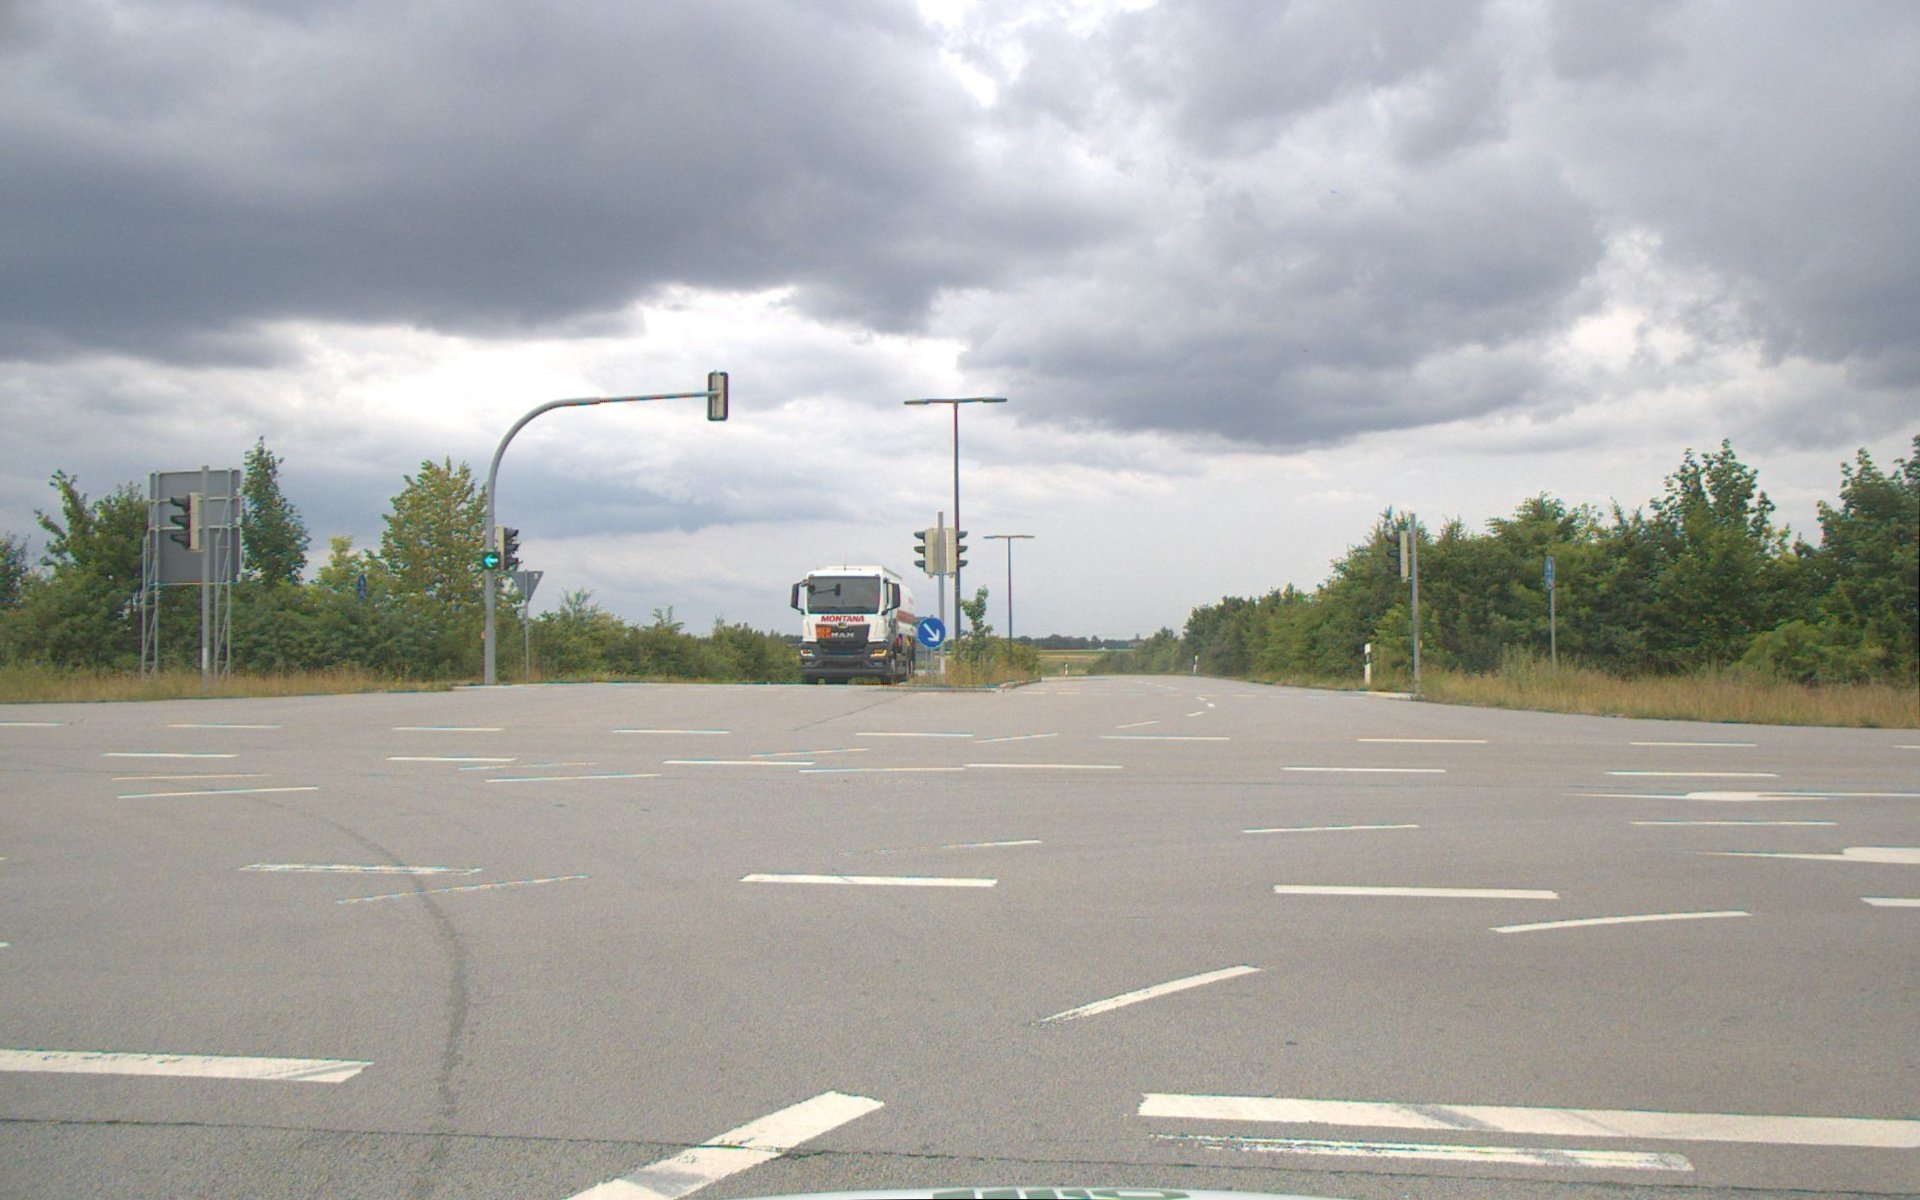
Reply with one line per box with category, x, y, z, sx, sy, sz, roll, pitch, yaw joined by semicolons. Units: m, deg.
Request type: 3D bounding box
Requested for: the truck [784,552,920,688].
truck;-2.919;0.682;47.222;2.810;3.468;8.652;-1;-2;3
